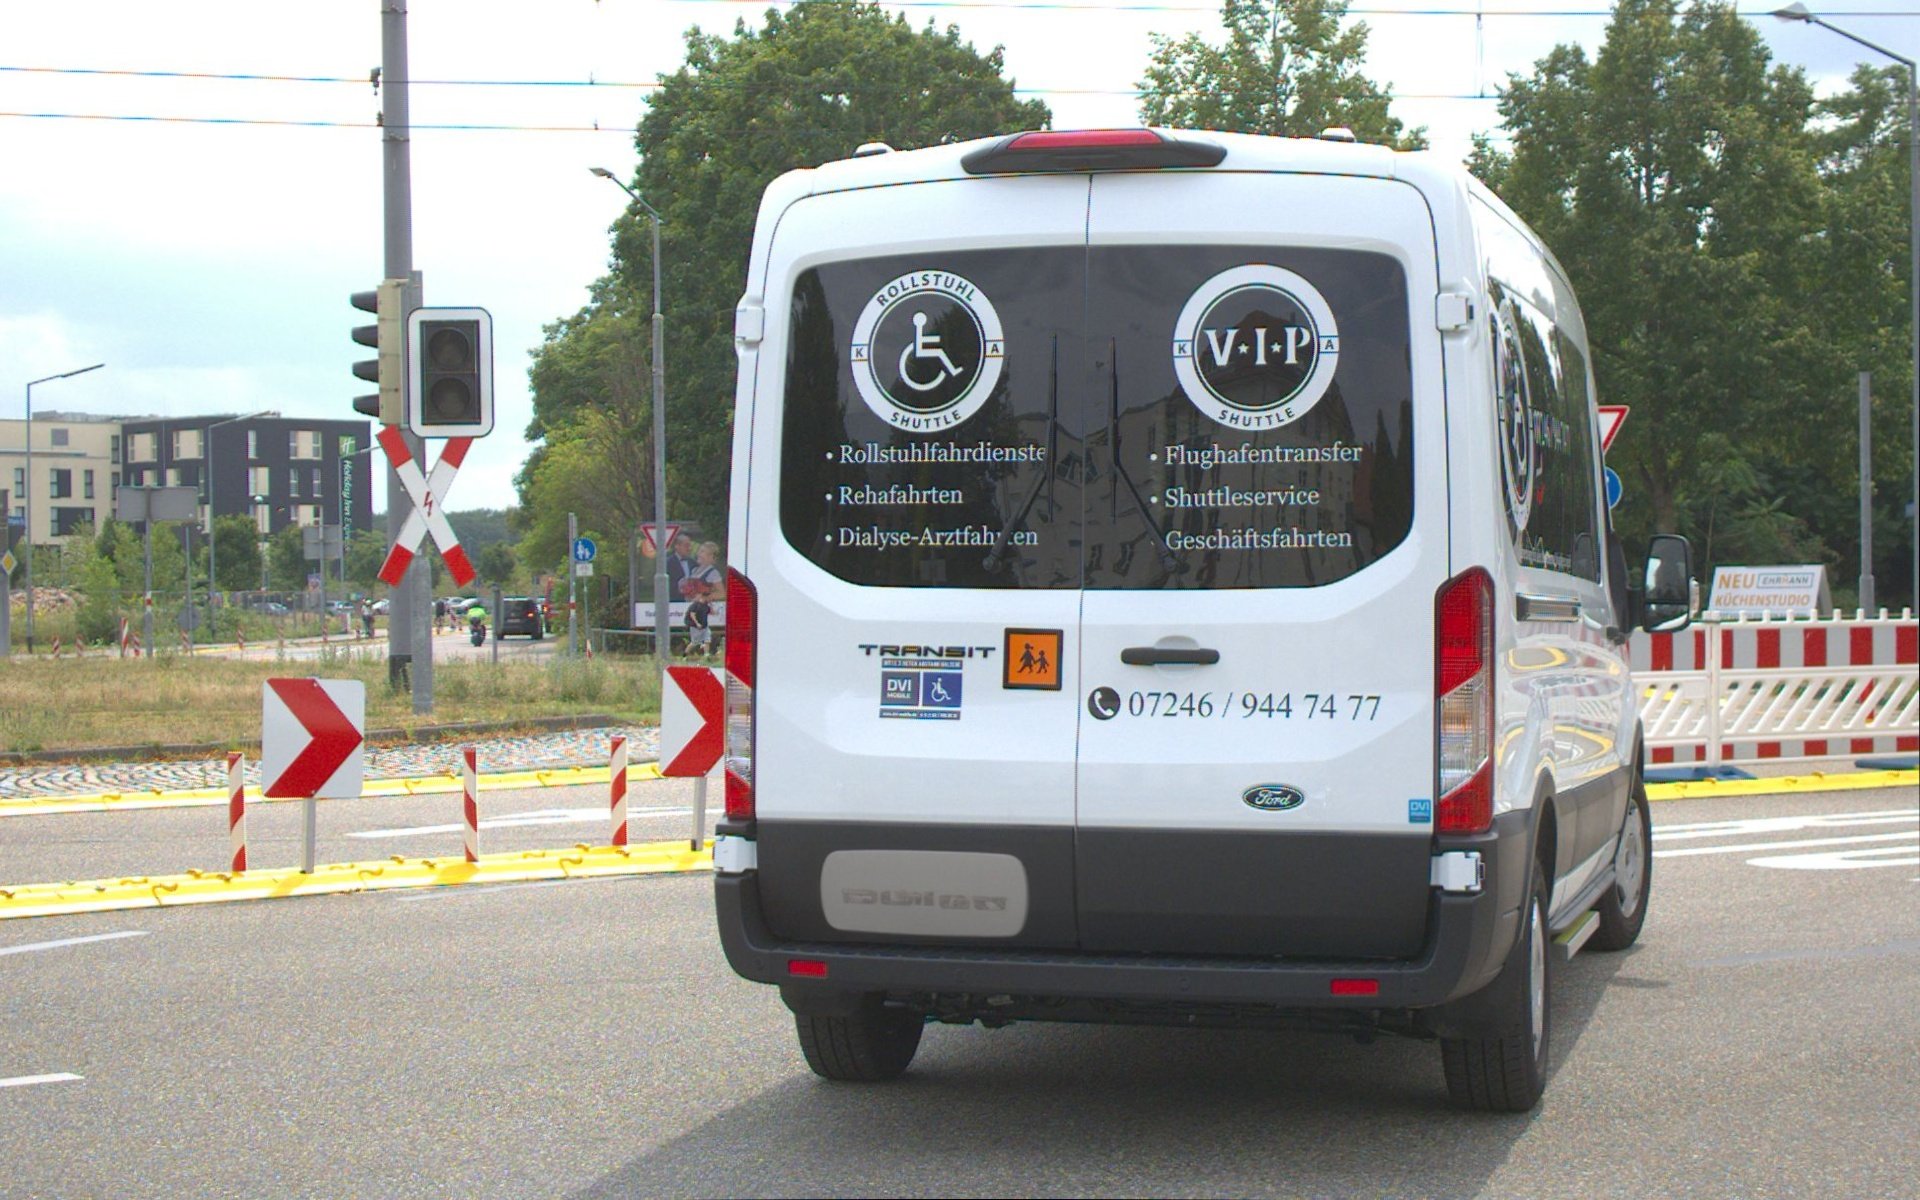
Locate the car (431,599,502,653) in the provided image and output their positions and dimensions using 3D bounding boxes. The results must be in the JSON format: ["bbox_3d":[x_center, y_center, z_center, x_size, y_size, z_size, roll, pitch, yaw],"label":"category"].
[{"bbox_3d":[-17.226,0.932,120.110,1.993,1.842,4.000,0,-1,-2],"label":"car"}]

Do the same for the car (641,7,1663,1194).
[{"bbox_3d":[0.967,-0.008,10.783,2.127,2.688,5.628,0,0,14],"label":"car"}]

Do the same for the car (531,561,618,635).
[{"bbox_3d":[-10.880,-0.036,96.827,1.993,2.007,4.001,0,-1,-13],"label":"car"}]

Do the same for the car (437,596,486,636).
[{"bbox_3d":[-23.706,0.768,163.629,1.993,1.842,4.000,0,-1,-4],"label":"car"}]

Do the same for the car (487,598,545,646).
[{"bbox_3d":[-17.643,0.892,136.878,1.993,1.842,4.000,0,-1,-3],"label":"car"}]

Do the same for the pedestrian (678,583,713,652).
[{"bbox_3d":[-6.094,0.397,79.175,0.448,1.588,0.670,0,0,43],"label":"pedestrian"}]
